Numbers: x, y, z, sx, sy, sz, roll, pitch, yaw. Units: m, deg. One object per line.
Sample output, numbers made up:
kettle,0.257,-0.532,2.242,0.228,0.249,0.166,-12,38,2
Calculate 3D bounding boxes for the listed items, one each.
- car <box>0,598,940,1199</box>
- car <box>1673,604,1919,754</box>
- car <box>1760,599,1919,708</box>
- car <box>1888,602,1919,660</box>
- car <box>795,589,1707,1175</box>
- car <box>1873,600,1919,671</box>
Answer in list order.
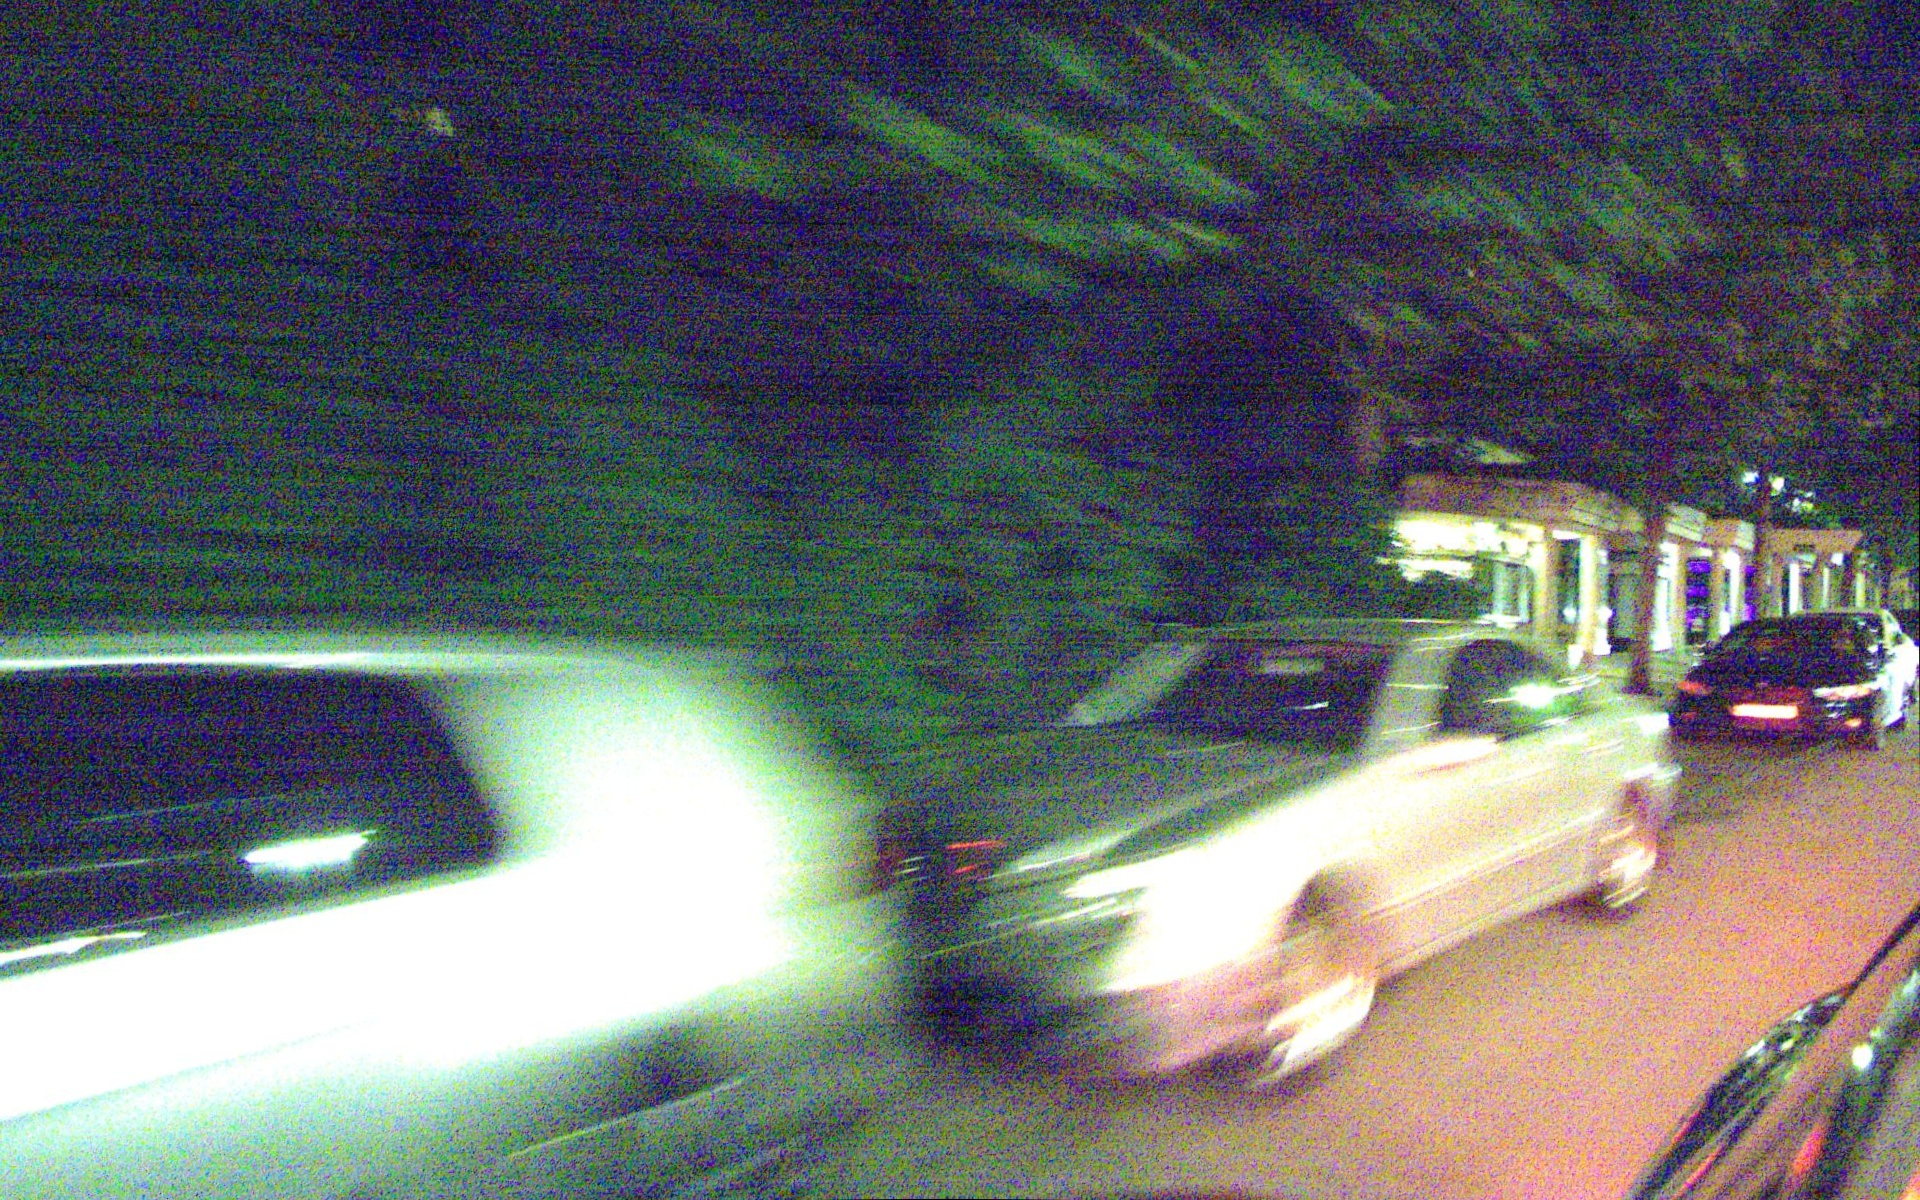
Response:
car,-2.197,0.739,1.547,4.216,1.456,1.782,0,-1,-42
car,10.040,0.777,11.948,4.365,1.434,1.764,0,0,-43
car,13.931,0.748,15.773,3.710,1.485,1.641,0,-1,-41
car,25.103,0.759,25.925,3.456,1.416,1.602,0,-1,-41
car,1.658,0.713,4.623,4.527,1.466,1.680,0,-1,-38
car,21.403,0.732,22.240,3.933,1.465,1.678,0,0,-43
